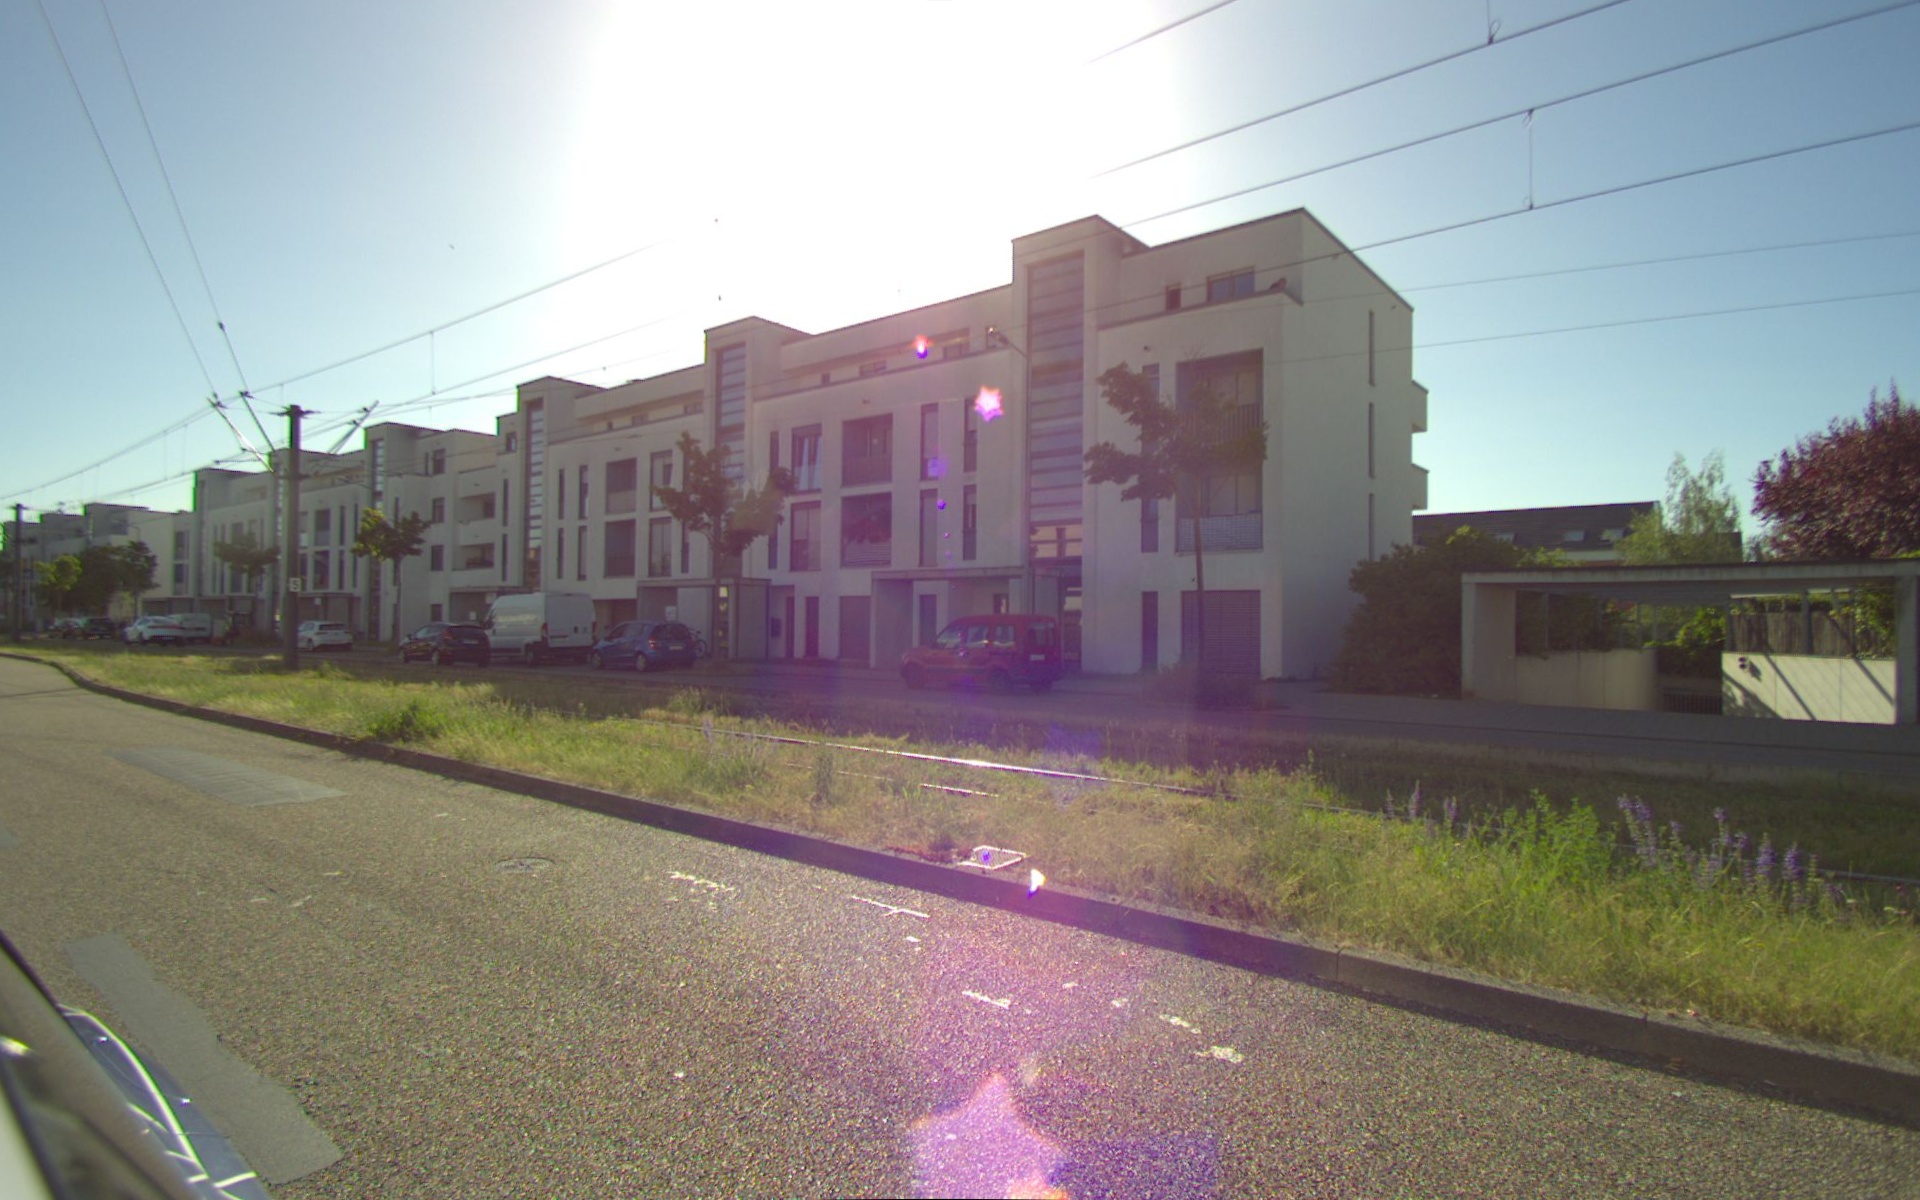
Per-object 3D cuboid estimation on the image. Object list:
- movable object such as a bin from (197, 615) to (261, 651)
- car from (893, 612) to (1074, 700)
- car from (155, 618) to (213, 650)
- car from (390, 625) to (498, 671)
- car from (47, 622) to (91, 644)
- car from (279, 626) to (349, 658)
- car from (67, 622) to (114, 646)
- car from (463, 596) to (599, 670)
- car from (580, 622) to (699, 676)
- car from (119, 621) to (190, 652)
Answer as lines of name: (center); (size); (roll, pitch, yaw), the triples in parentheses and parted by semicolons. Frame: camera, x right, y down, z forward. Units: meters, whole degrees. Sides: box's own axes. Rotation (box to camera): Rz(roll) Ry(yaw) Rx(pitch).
movable object such as a bin: (-40.981, 1.840, 56.734); (4.149, 1.952, 1.745); (-1, -1, 37)
car: (0.482, 1.201, 23.013); (3.836, 1.809, 1.861); (-1, -1, 42)
car: (-47.268, 2.053, 61.592); (4.149, 1.884, 1.745); (-1, -1, 37)
car: (-16.934, 1.556, 33.146); (3.999, 1.429, 1.769); (-1, -4, 42)
car: (-67.576, 2.490, 76.747); (4.149, 1.611, 1.745); (-1, -1, 37)
car: (-31.240, 1.990, 48.889); (4.149, 1.443, 1.503); (-1, -1, 37)
car: (-63.055, 2.458, 73.376); (4.149, 1.611, 1.745); (-1, -1, 37)
car: (-15.370, 1.152, 36.125); (5.583, 2.463, 2.119); (-1, -1, 39)
car: (-10.063, 1.495, 31.681); (3.840, 1.548, 1.805); (-1, -1, 41)
car: (-43.855, 1.994, 55.065); (4.641, 1.608, 1.974); (-1, -4, 39)
